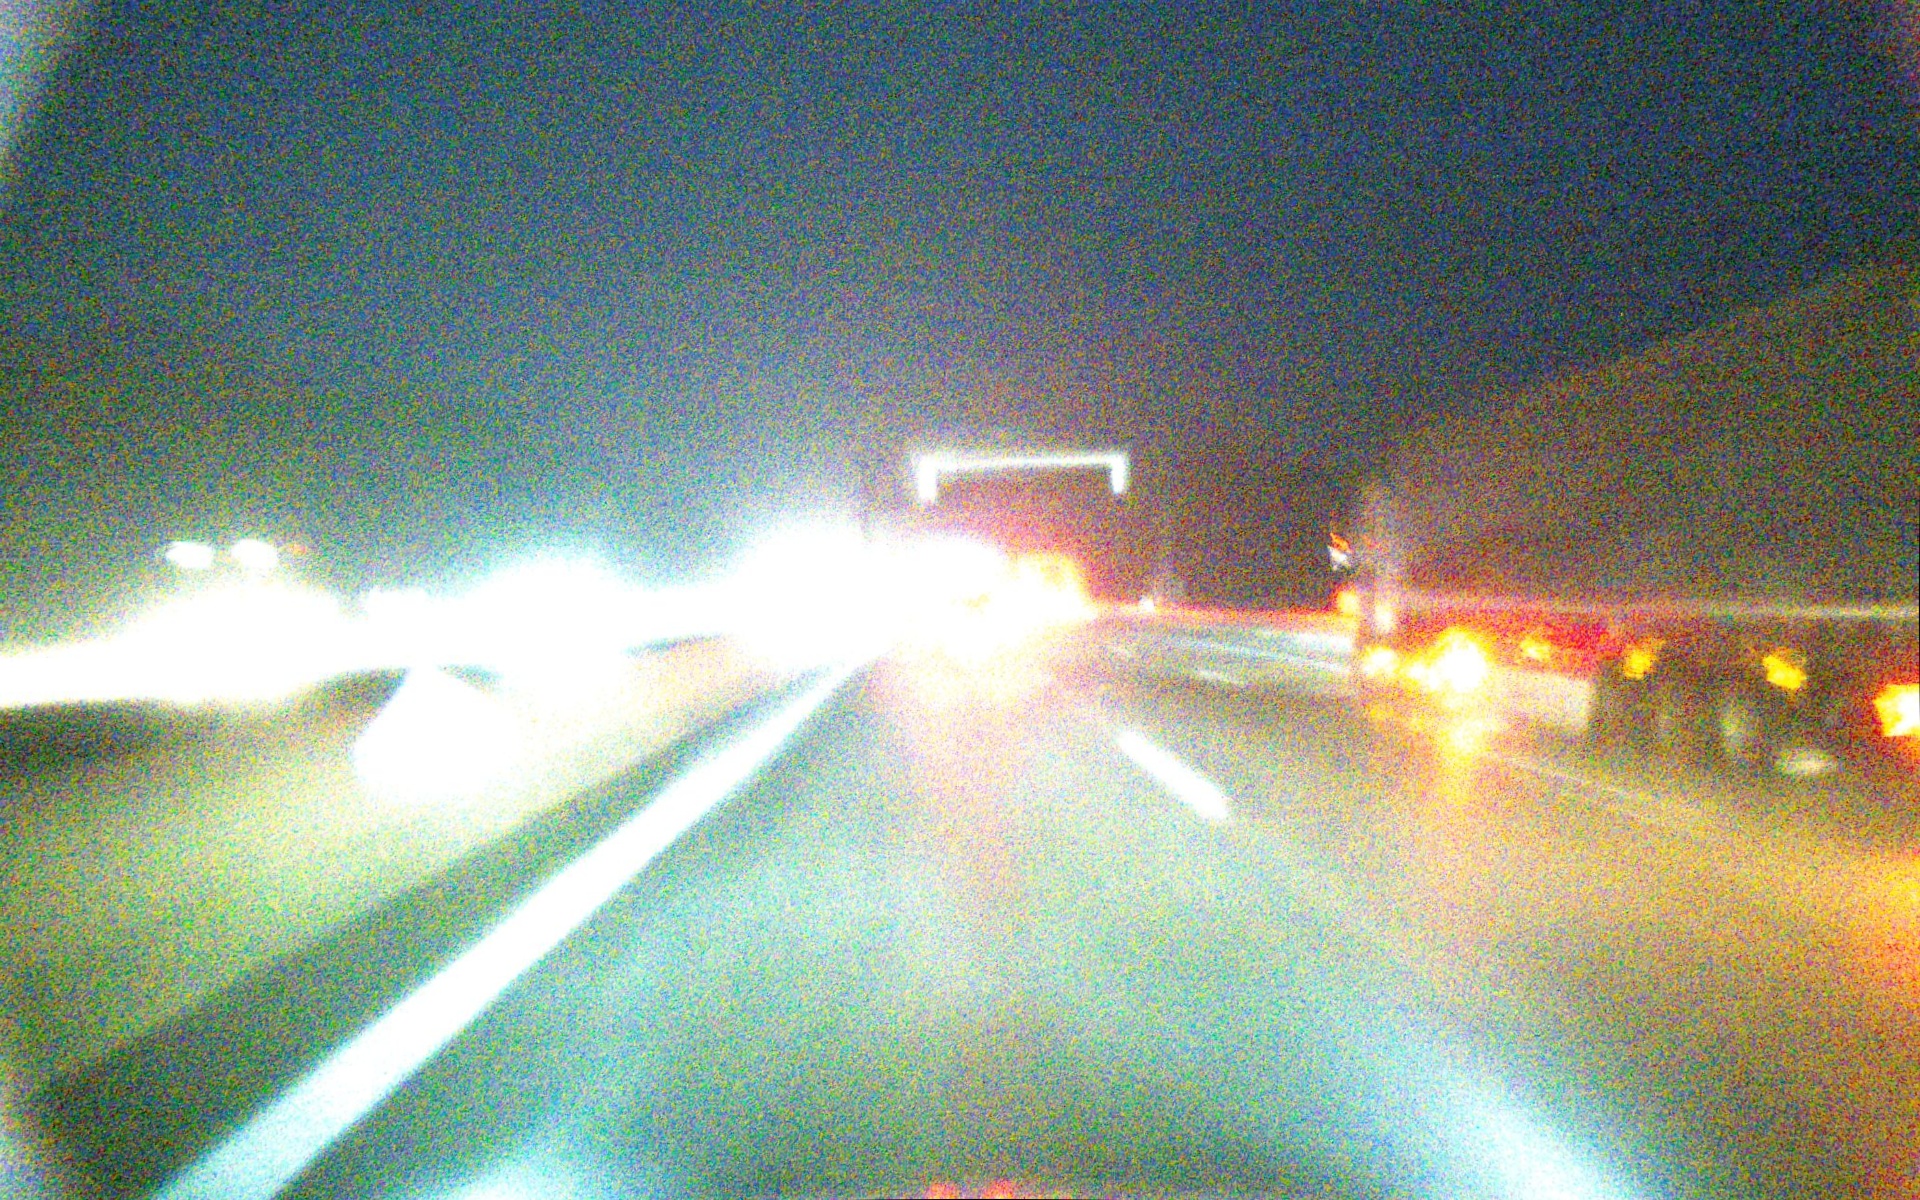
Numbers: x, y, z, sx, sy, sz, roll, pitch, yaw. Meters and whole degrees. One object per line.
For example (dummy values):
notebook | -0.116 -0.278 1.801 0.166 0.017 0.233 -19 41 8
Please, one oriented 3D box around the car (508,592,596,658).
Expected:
car | -13.413 0.786 54.615 1.953 2.049 3.999 -1 0 -1

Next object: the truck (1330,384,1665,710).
truck | 7.672 -0.704 24.549 2.844 4.180 6.029 -1 0 -1

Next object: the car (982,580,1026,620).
car | 2.360 0.013 90.483 1.954 2.049 3.996 -2 0 -4

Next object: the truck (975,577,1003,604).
truck | 3.829 -1.254 221.619 2.976 3.355 11.375 -2 0 -2

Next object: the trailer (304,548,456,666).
trailer | -21.139 0.207 60.864 2.799 3.968 8.701 -1 0 -3

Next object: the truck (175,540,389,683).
truck | -20.725 0.274 51.386 2.810 3.976 10.207 -1 0 -2

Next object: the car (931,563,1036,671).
car | 0.422 0.355 34.105 1.953 2.049 3.998 1 -1 -2

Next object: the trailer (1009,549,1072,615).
trailer | 5.439 -1.117 114.065 2.980 4.180 13.821 -2 0 -2

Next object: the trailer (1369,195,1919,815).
trailer | 7.786 -0.685 17.862 2.844 4.180 14.484 -1 0 -1
